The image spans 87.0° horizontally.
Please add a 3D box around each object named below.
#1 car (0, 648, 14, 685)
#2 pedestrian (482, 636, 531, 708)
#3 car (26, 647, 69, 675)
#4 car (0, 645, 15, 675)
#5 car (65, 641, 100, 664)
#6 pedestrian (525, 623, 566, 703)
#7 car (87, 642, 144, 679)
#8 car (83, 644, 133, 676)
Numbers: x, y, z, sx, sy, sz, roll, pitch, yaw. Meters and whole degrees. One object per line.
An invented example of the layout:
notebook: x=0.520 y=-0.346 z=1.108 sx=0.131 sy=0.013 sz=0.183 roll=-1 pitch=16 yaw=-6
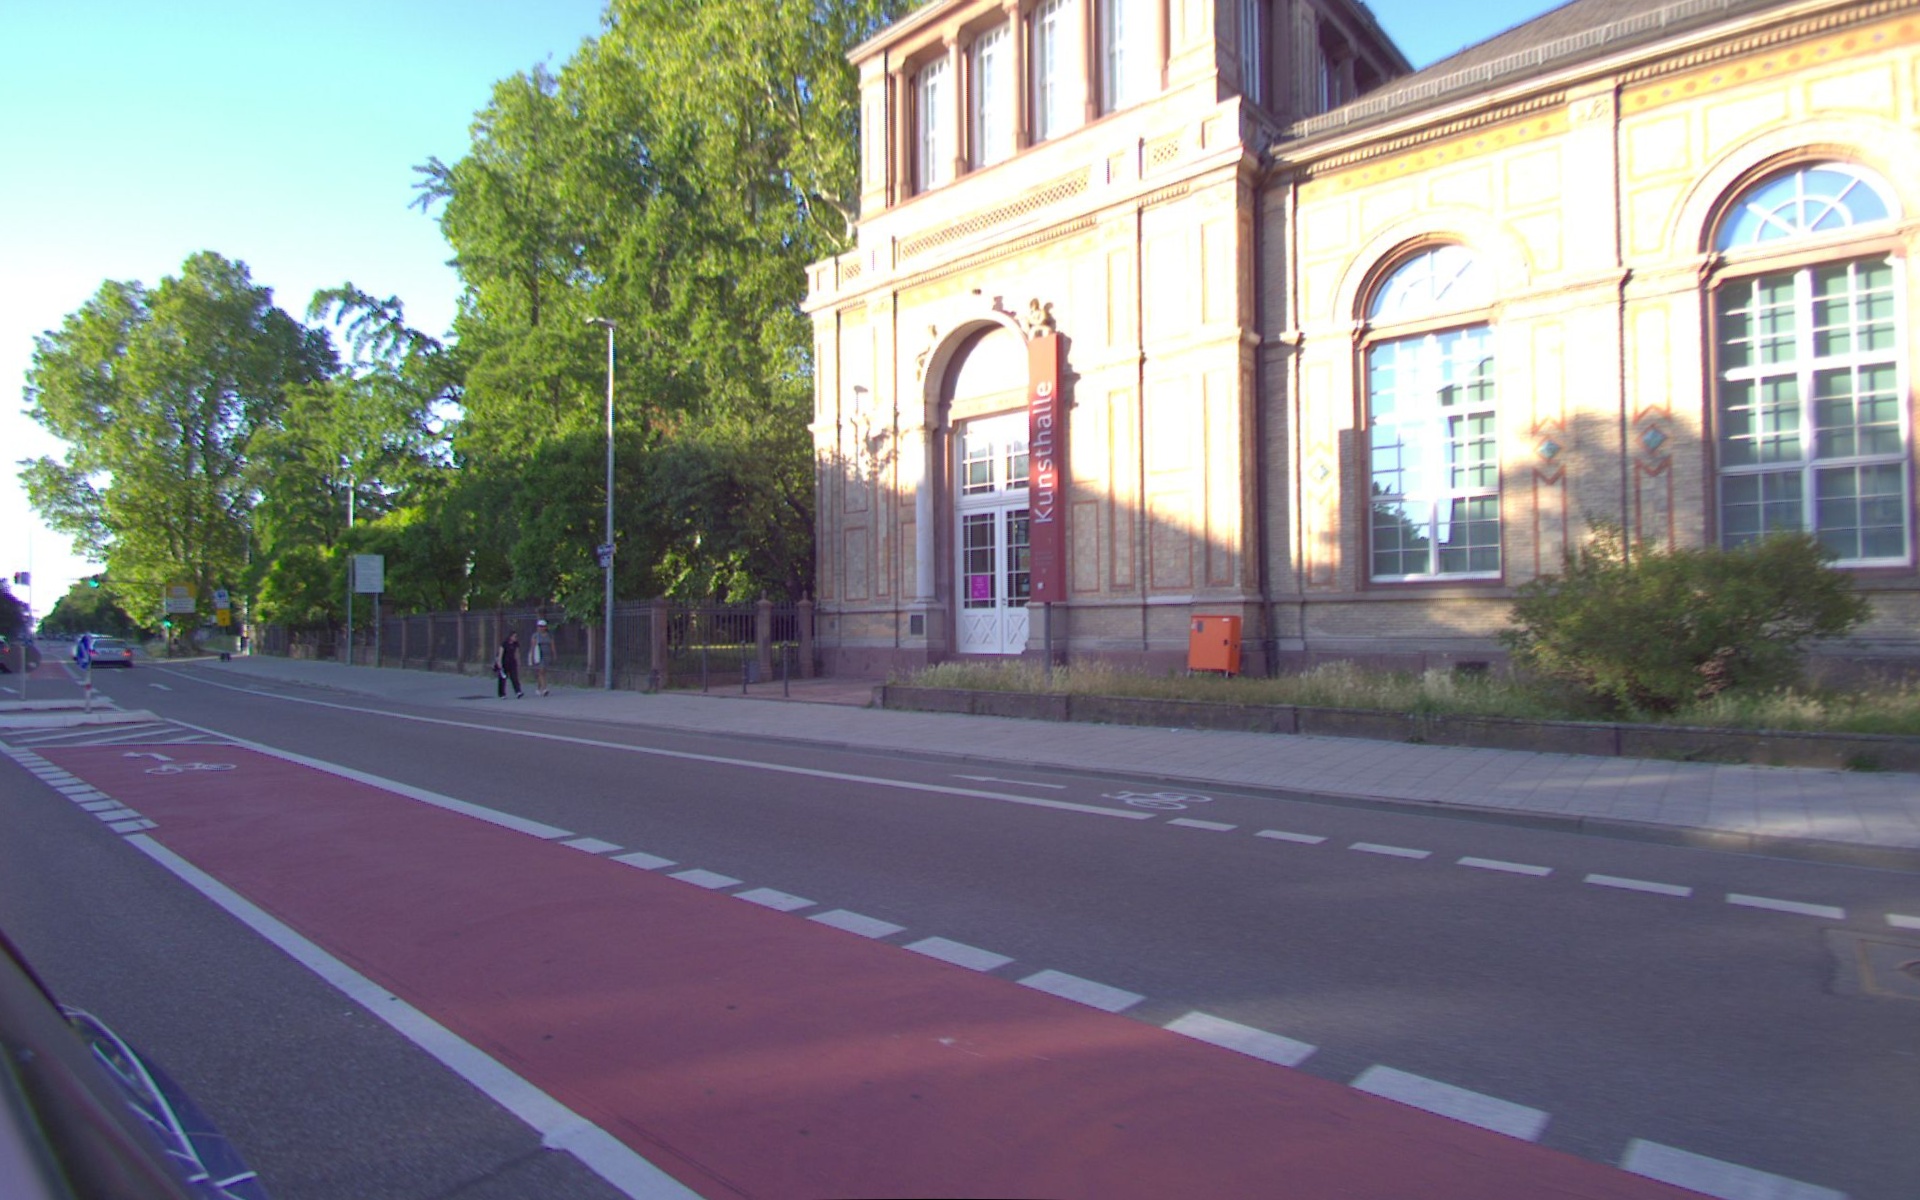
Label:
car: x=-40.396 y=2.718 z=41.621 sx=3.998 sy=1.475 sz=1.753 roll=-2 pitch=-4 yaw=41
pedestrian: x=-10.124 y=1.597 z=22.580 sx=0.666 sy=1.524 sz=0.836 roll=-4 pitch=0 yaw=-42
car: x=-59.955 y=3.964 z=66.471 sx=1.970 sy=1.697 sz=4.004 roll=1 pitch=-2 yaw=-43
car: x=-54.783 y=3.399 z=57.141 sx=3.895 sy=1.633 sz=1.877 roll=-3 pitch=-2 yaw=43
car: x=-69.935 y=4.155 z=80.653 sx=1.970 sy=1.697 sz=4.004 roll=1 pitch=-2 yaw=-43
pedestrian: x=-9.403 y=1.418 z=22.954 sx=0.795 sy=1.751 sz=0.852 roll=0 pitch=-2 yaw=-26
car: x=-41.550 y=2.928 z=49.766 sx=1.893 sy=1.697 sz=4.004 roll=1 pitch=-2 yaw=-43
car: x=-48.810 y=3.414 z=57.932 sx=1.970 sy=1.697 sz=4.004 roll=1 pitch=-2 yaw=-43
